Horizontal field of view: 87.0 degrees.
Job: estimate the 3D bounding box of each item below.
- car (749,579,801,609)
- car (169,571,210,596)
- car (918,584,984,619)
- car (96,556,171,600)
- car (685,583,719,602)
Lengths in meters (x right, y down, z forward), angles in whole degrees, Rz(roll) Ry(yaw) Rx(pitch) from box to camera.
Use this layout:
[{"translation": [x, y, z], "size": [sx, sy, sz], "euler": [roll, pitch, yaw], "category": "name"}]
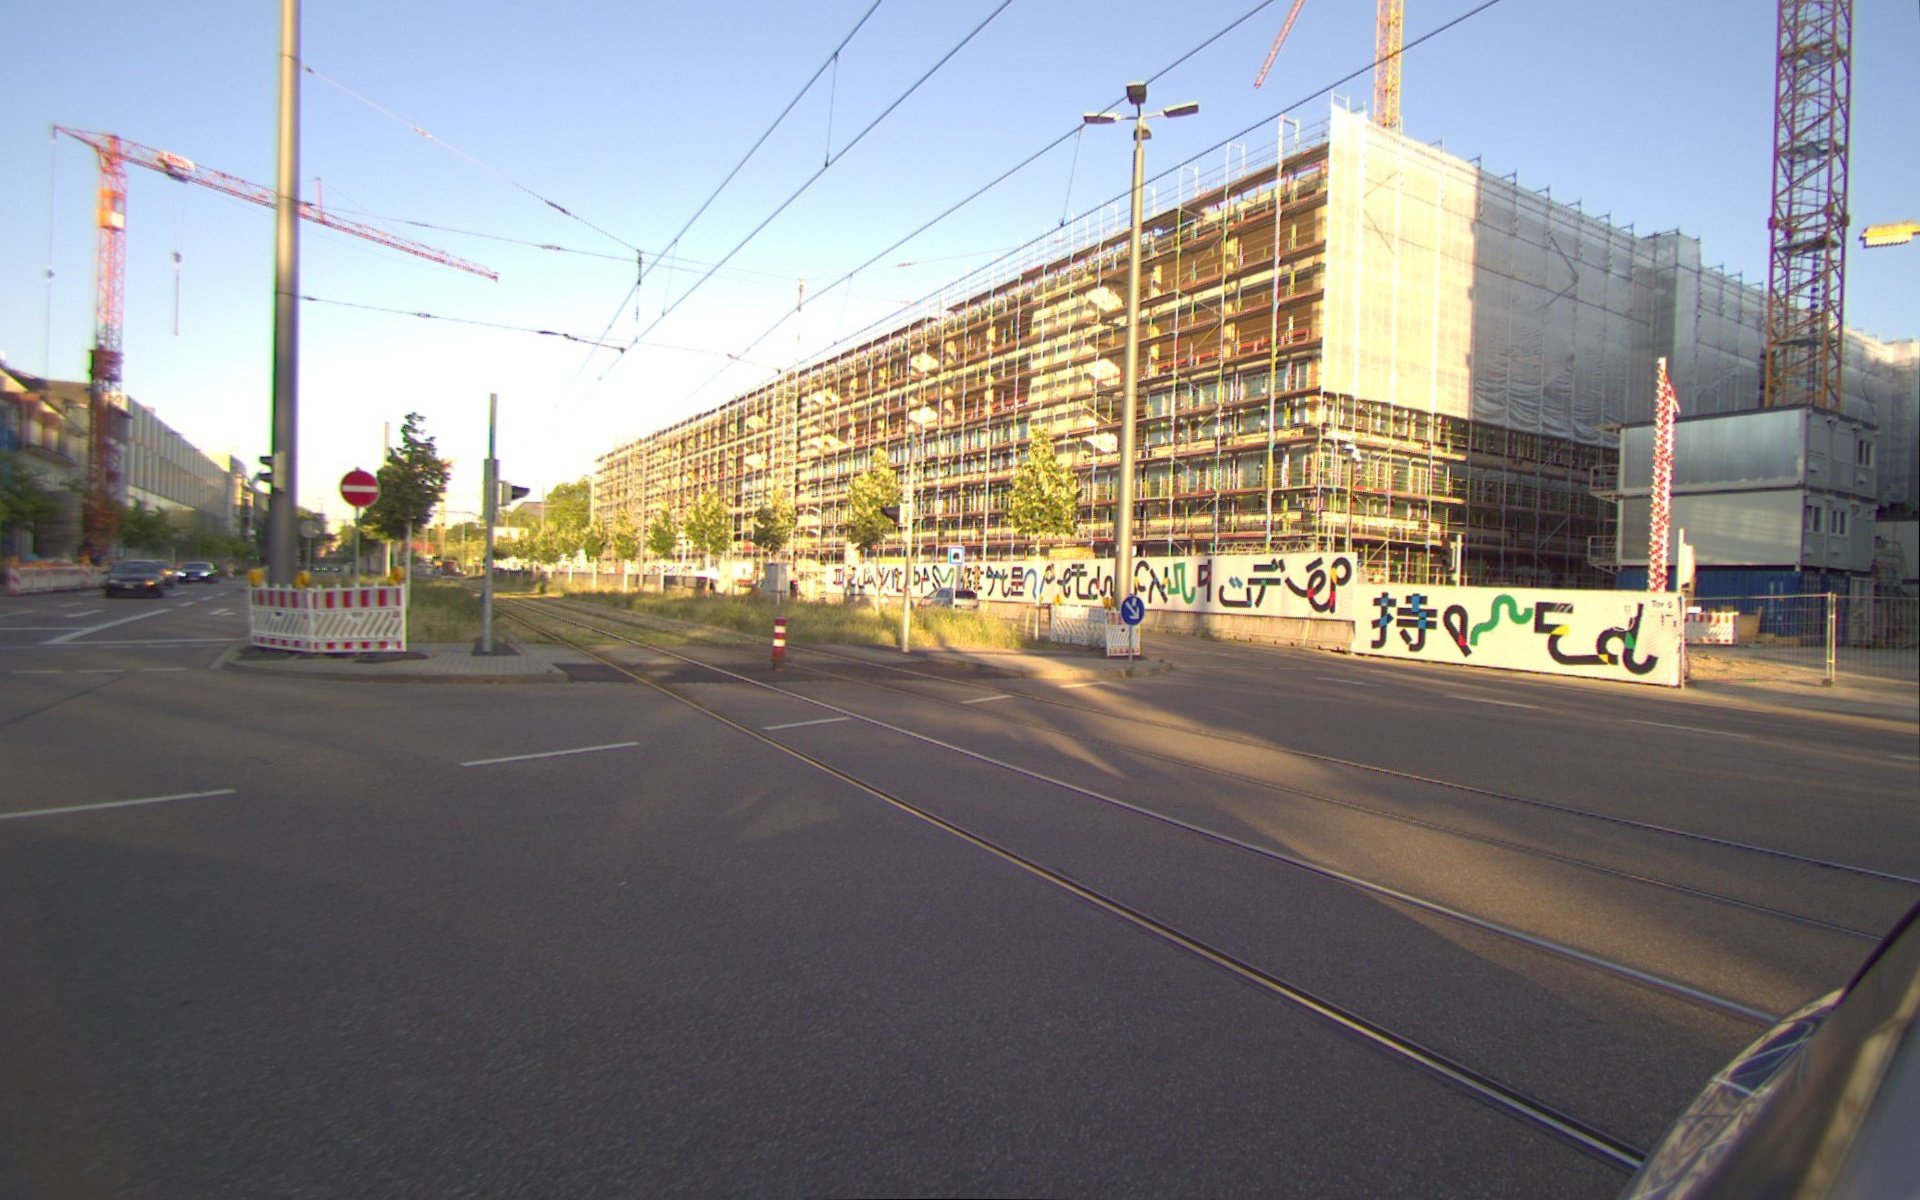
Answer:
[{"translation": [-10.740, -0.382, 58.443], "size": [1.750, 1.536, 4.075], "euler": [3, 0, -28], "category": "car"}, {"translation": [-50.537, -1.100, 66.420], "size": [1.670, 1.617, 3.894], "euler": [0, 2, -31], "category": "car"}, {"translation": [-0.473, 0.059, 47.898], "size": [1.634, 1.473, 4.077], "euler": [3, 0, -23], "category": "car"}, {"translation": [-32.187, -0.863, 39.506], "size": [1.670, 1.617, 4.264], "euler": [0, 2, -31], "category": "car"}, {"translation": [-22.491, -0.665, 88.195], "size": [1.959, 1.593, 4.006], "euler": [1, 1, -28], "category": "car"}]
